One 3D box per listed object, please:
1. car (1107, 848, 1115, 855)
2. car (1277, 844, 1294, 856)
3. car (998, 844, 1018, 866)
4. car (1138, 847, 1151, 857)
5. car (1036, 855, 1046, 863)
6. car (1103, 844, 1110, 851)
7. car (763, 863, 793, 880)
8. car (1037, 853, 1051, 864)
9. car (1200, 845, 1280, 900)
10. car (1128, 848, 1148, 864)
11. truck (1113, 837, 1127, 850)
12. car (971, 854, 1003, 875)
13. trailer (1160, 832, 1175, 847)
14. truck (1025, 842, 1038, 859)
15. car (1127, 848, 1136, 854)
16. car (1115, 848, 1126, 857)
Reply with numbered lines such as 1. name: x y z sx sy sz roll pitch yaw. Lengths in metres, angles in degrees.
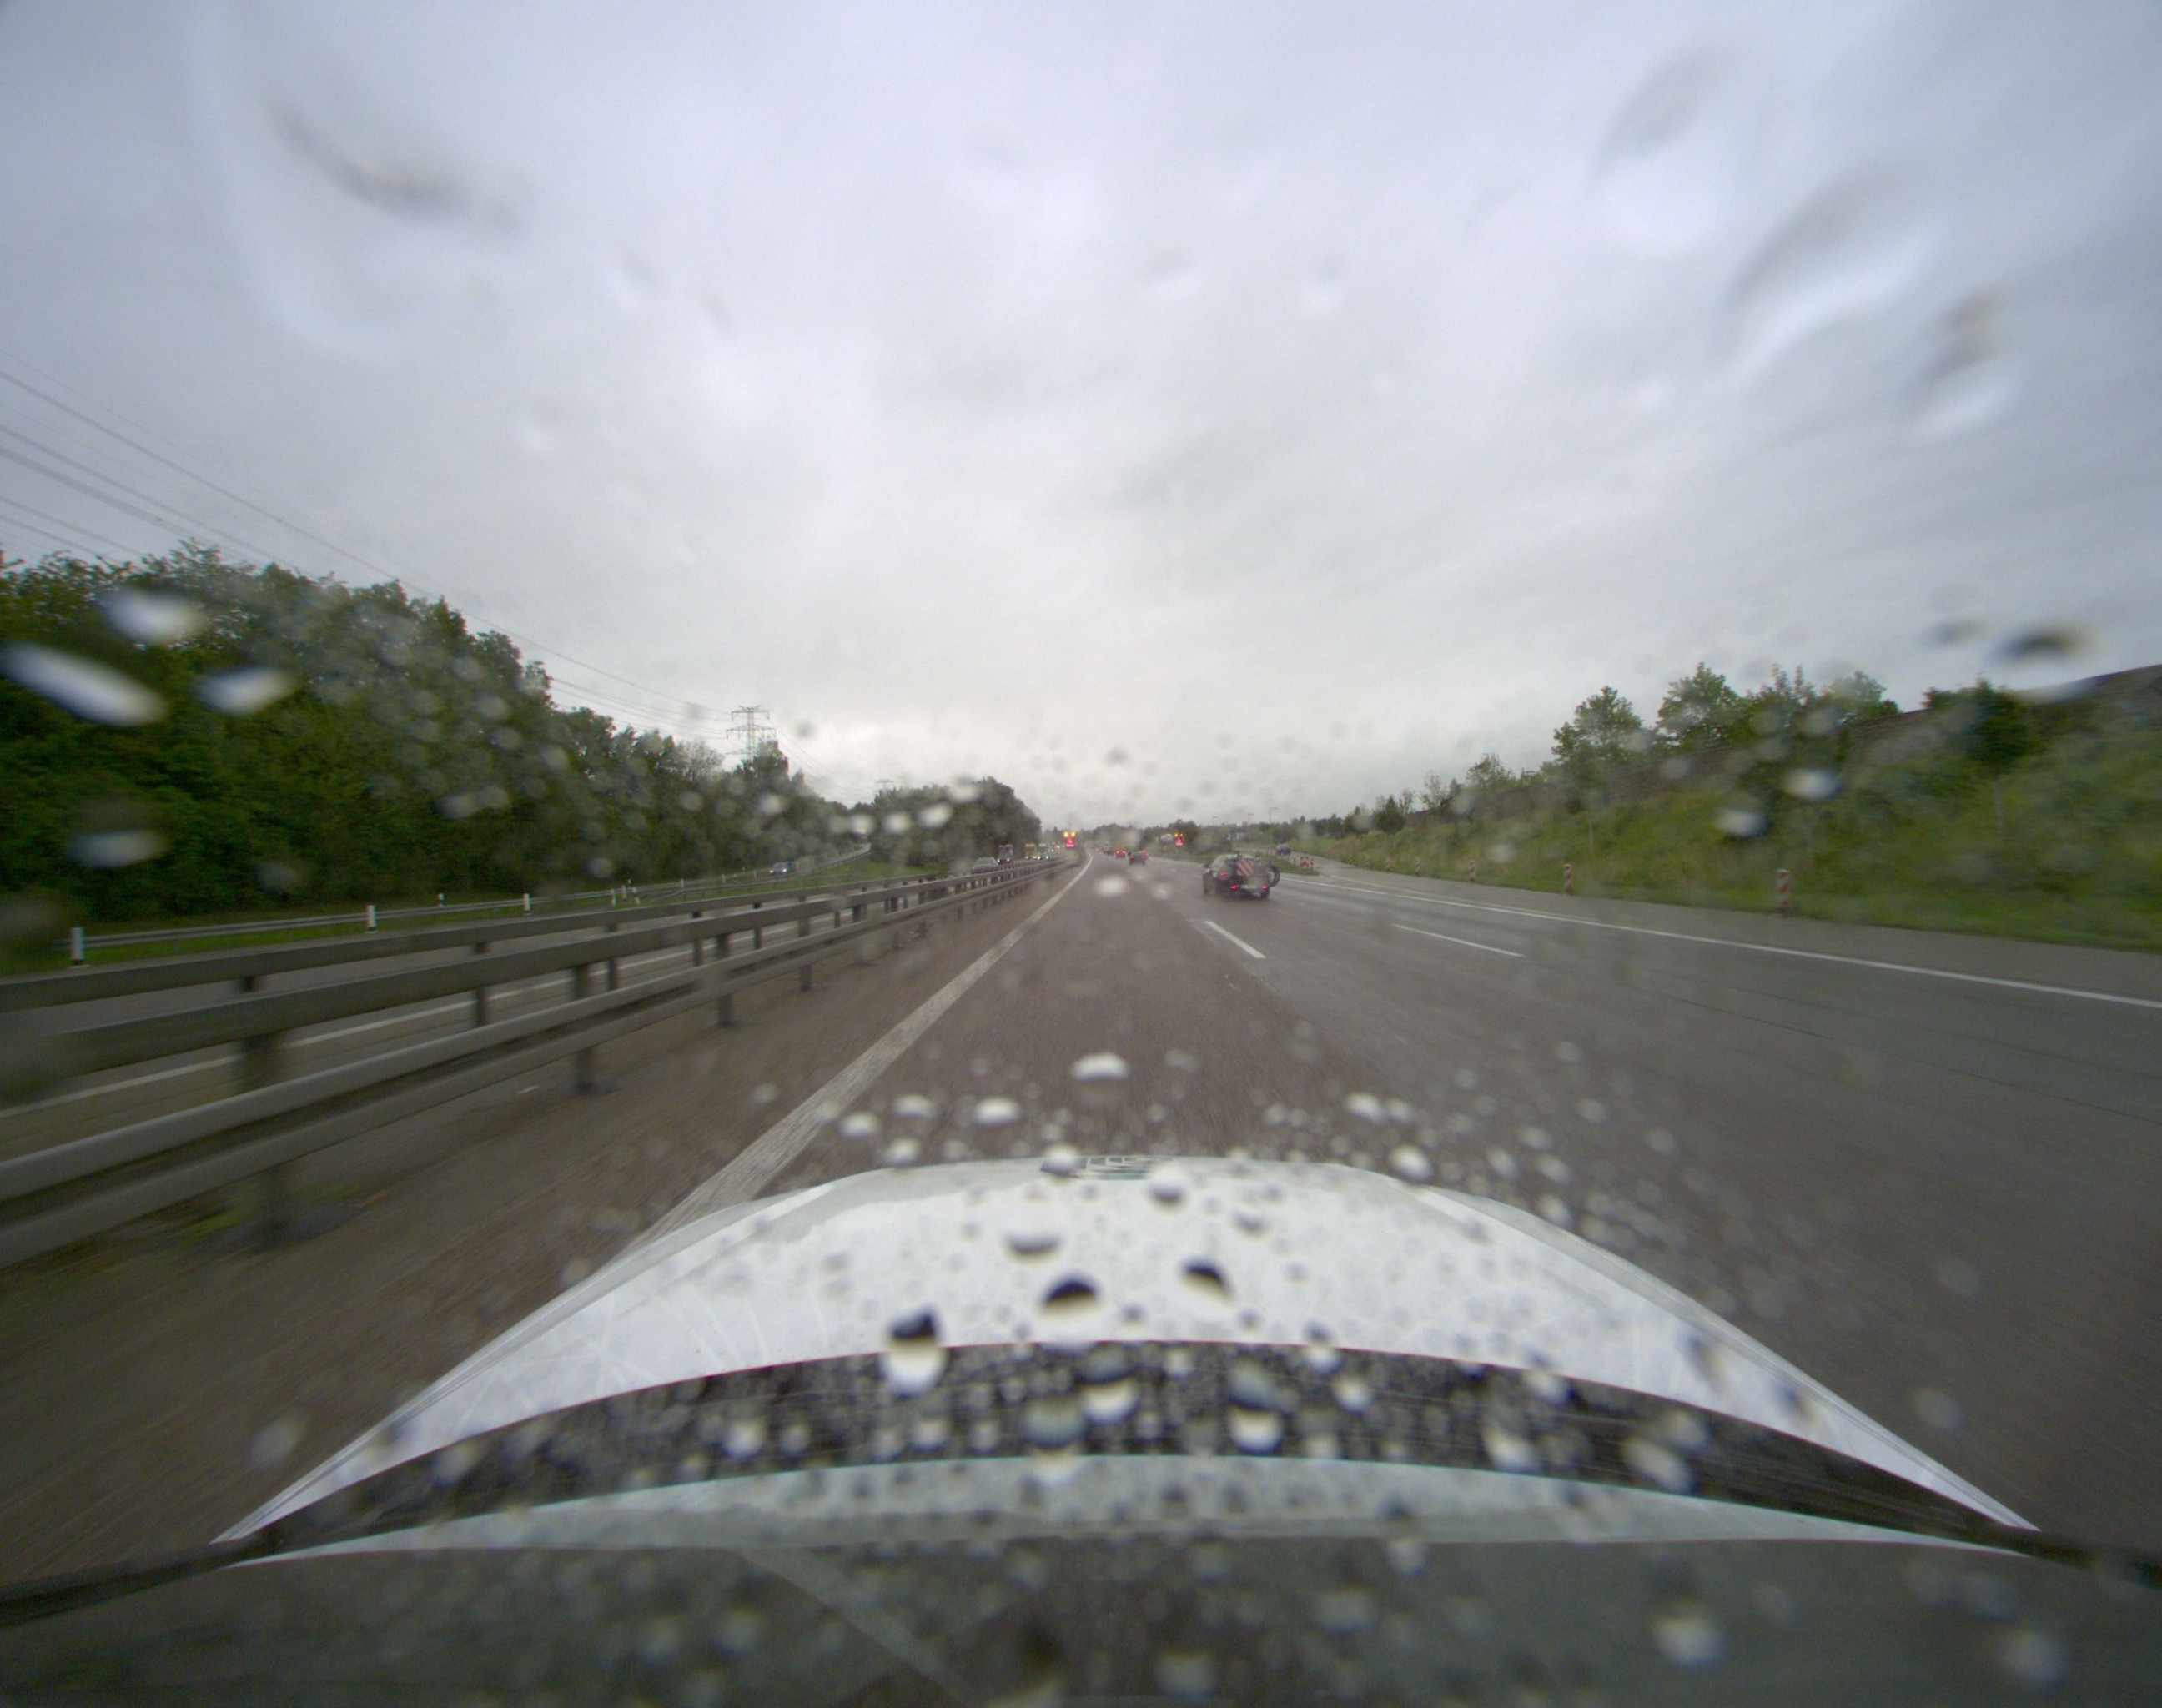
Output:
1. car: 7.768 -0.625 211.625 1.987 1.628 4.000 -2 0 0
2. car: 29.699 -0.623 118.424 1.912 1.709 4.008 -2 0 7
3. car: -11.545 0.142 128.841 2.246 3.327 6.177 -3 0 2
4. car: 11.407 -0.347 146.305 1.987 1.761 4.000 0 0 0
5. car: -9.068 1.087 183.959 1.868 1.603 4.515 -3 0 1
6. car: 8.055 -1.973 260.767 1.987 2.205 4.000 -2 0 0
7. car: -31.289 1.783 84.285 1.966 1.543 3.990 -2 0 -8
8. car: -6.260 0.787 137.837 1.917 1.656 4.792 -3 0 1
9. car: 5.324 0.590 27.985 2.048 1.671 5.528 -1 -1 4
10. car: 6.685 0.220 95.329 1.987 1.761 4.000 -2 0 0
11. truck: 12.514 -3.296 260.433 3.911 3.981 12.240 -2 0 0
12. car: -7.674 0.836 66.824 1.815 1.512 4.792 -3 0 2
13. trailer: 25.427 -4.241 240.837 2.975 4.156 12.956 -2 0 0
14. truck: -12.814 -0.972 212.207 2.753 4.055 6.157 -4 0 1
15. car: 13.130 -0.839 213.061 1.987 1.628 4.000 -2 0 0
16. car: 7.897 -0.282 162.418 1.987 1.628 4.000 -2 0 0
